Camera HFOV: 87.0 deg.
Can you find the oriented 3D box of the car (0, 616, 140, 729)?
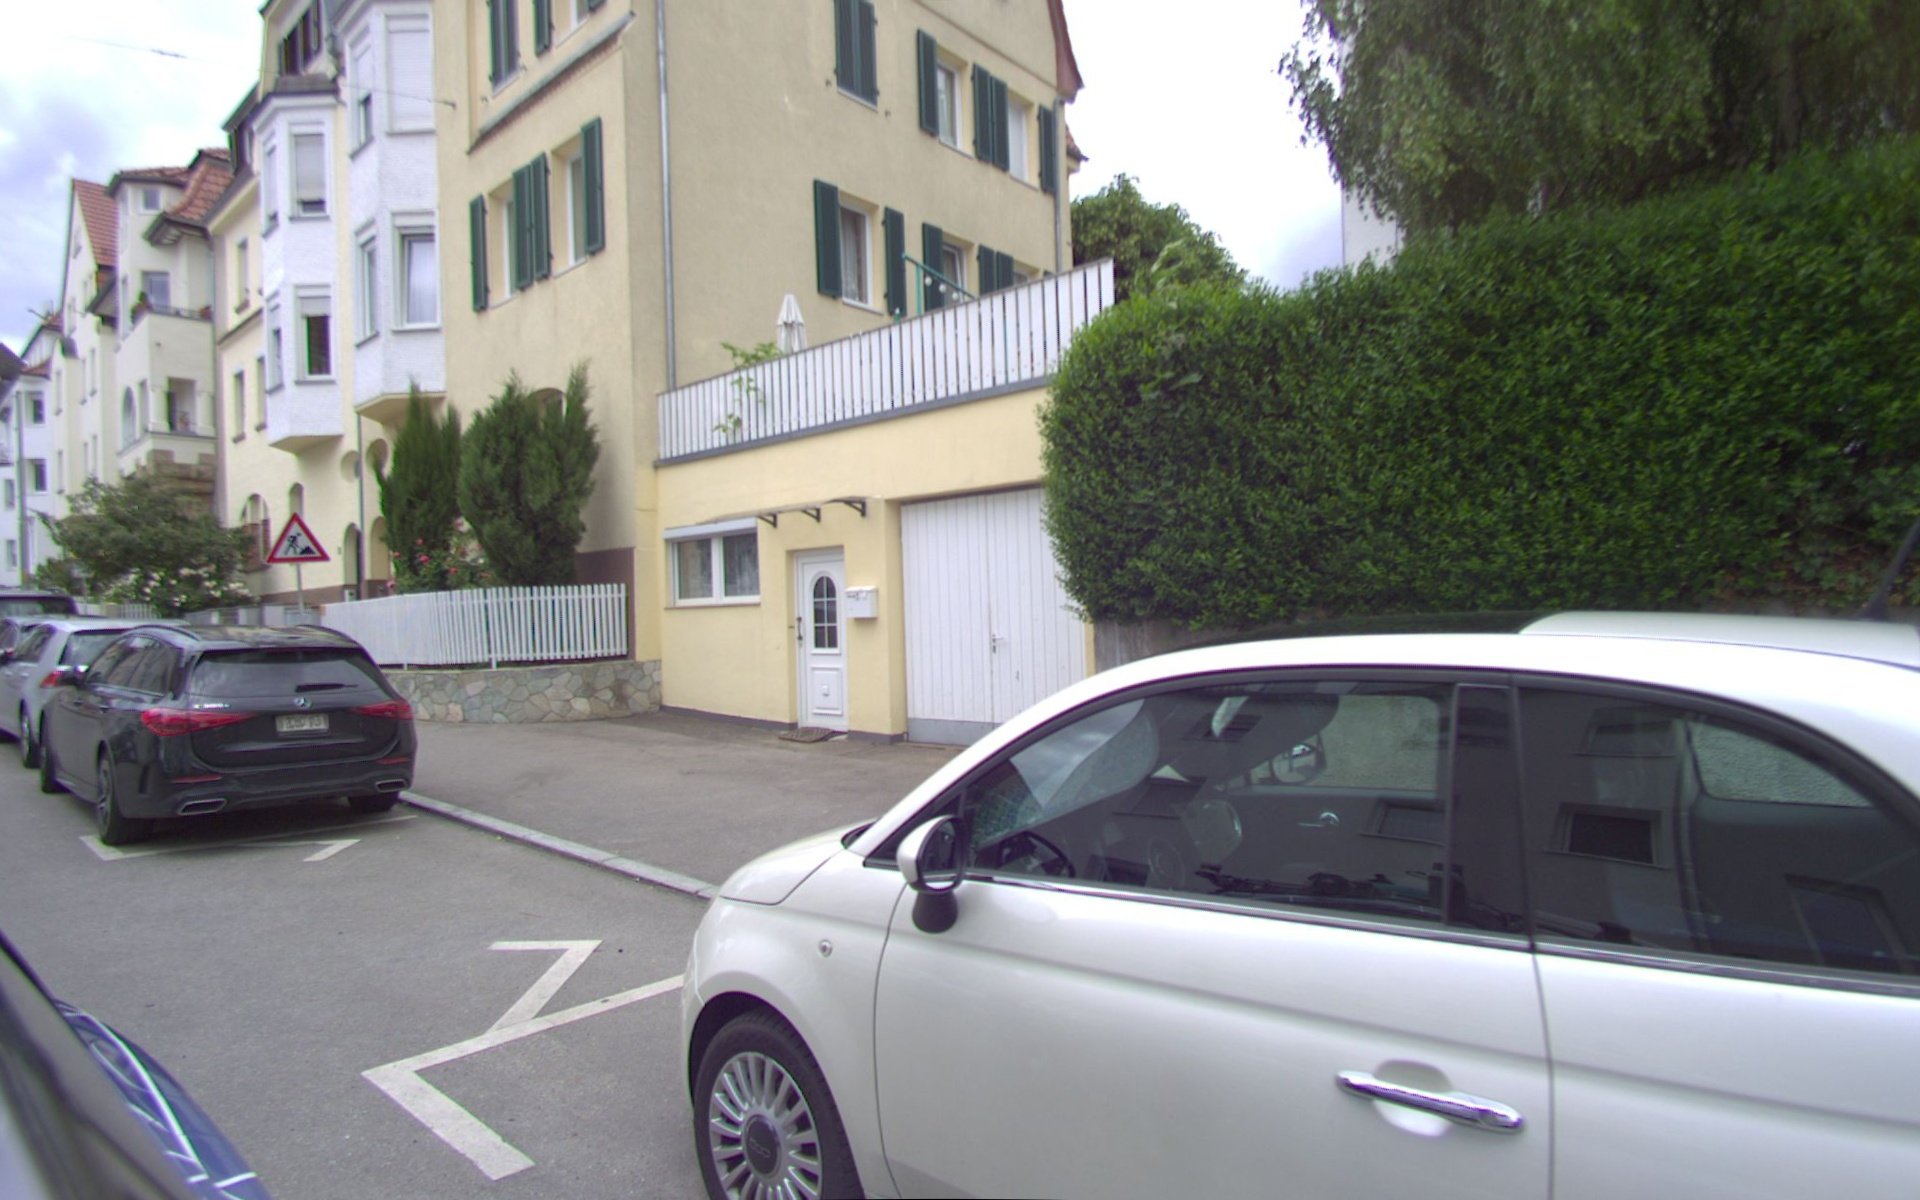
[{"bbox_3d":[-13.314,0.957,14.635,3.701,1.409,1.622,0,-1,41],"label":"car"}]

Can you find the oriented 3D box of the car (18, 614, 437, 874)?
[{"bbox_3d":[-5.988,0.879,8.058,4.326,1.491,1.784,-1,0,41],"label":"car"}]

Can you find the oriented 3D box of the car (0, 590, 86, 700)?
[{"bbox_3d":[-17.177,0.728,18.014,4.145,1.810,1.732,0,0,39],"label":"car"}]

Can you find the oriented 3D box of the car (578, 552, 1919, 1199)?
[{"bbox_3d":[0.838,0.725,2.186,3.612,1.464,1.590,-2,-3,41],"label":"car"}]

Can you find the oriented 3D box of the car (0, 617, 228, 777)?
[{"bbox_3d":[-9.764,0.935,11.348,4.121,1.439,1.622,0,-1,41],"label":"car"}]
